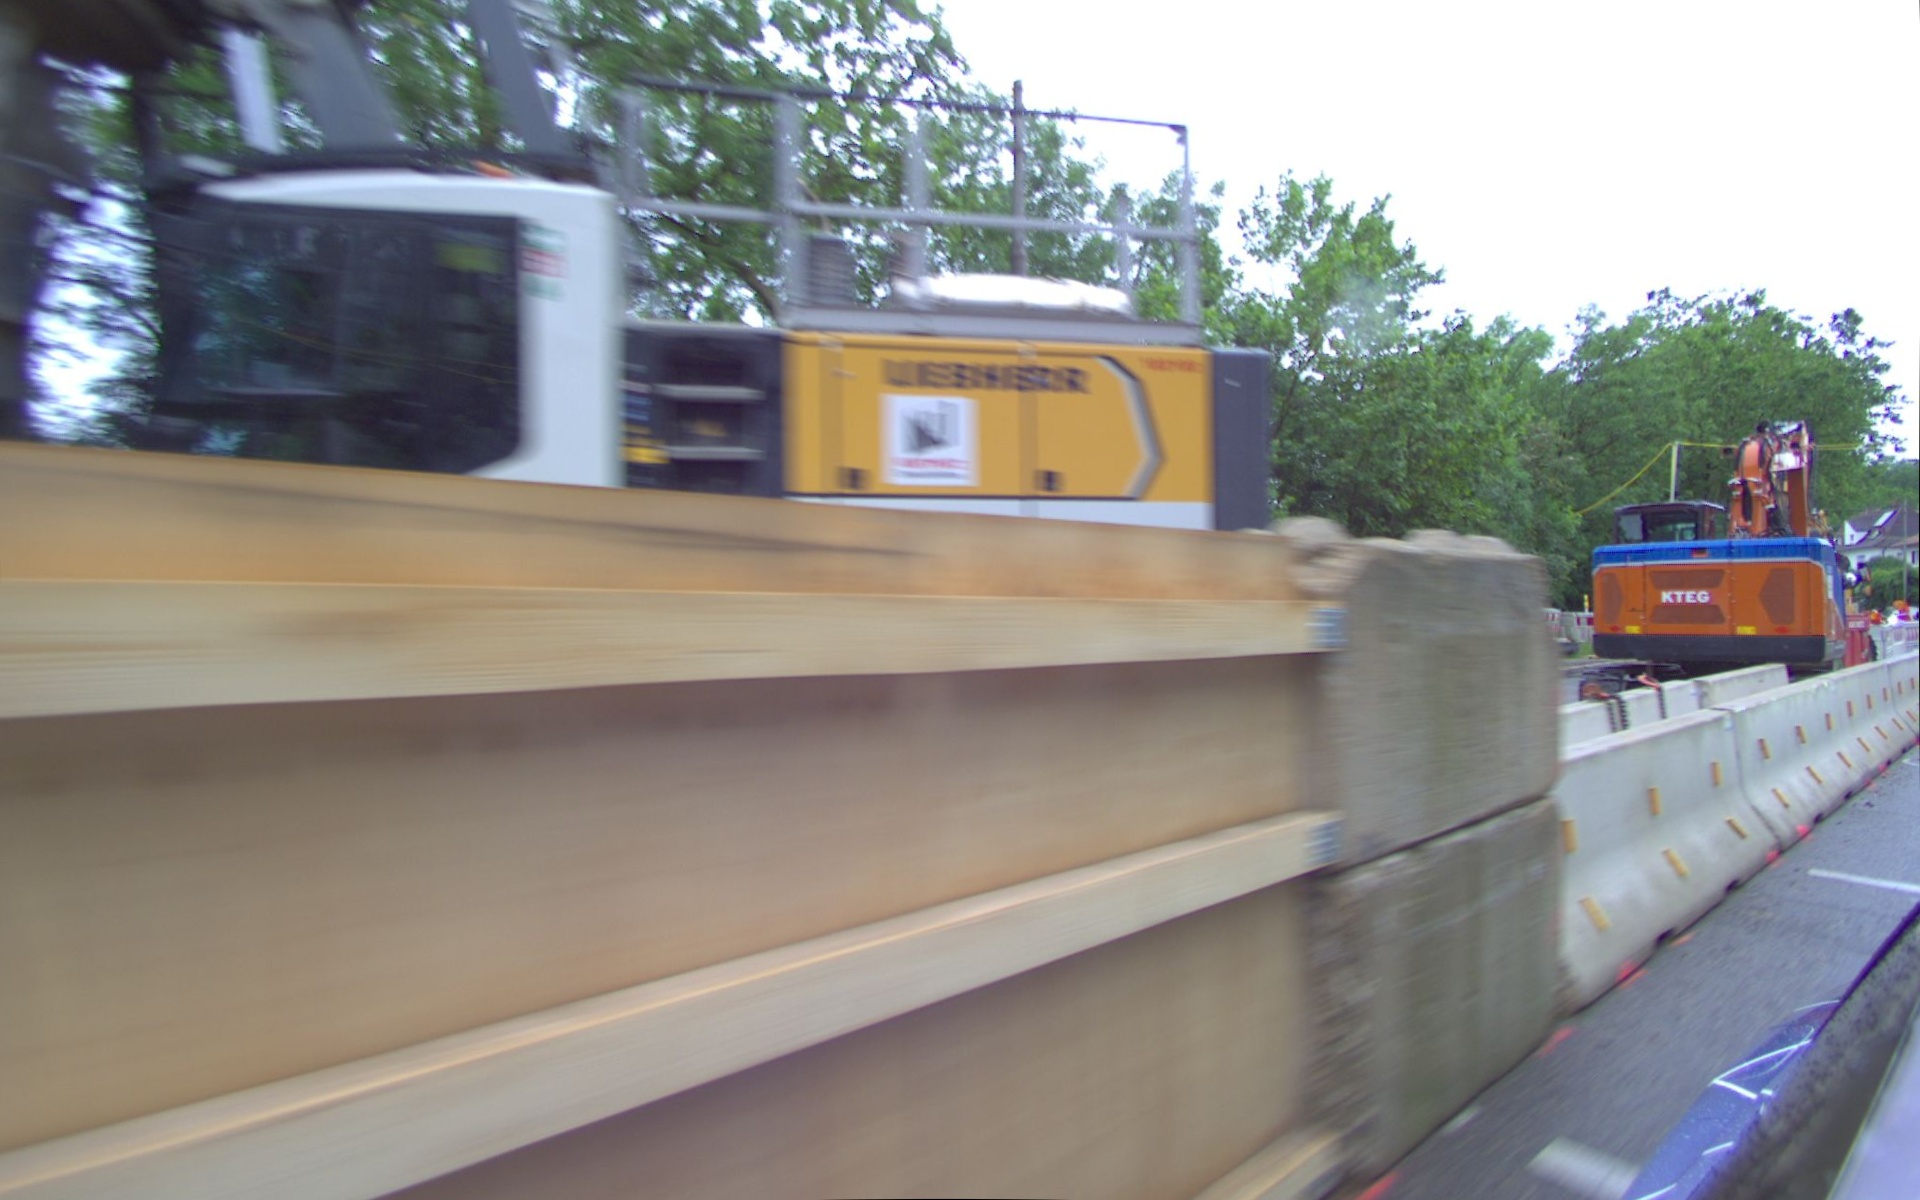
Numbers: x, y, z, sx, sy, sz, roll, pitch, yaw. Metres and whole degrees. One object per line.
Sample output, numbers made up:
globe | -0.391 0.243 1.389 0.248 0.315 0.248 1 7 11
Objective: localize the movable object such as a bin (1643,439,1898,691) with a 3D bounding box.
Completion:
movable object such as a bin | 15.619 -0.576 19.468 4.404 4.224 2.886 1 0 -38

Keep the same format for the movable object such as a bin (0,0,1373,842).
movable object such as a bin | -1.924 -1.772 5.735 7.013 5.129 3.702 -1 1 -12

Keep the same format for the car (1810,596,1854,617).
car | 60.837 0.466 70.627 3.563 1.353 1.823 -1 -1 -41

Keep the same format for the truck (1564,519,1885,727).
truck | 9.418 0.193 12.444 3.247 2.134 2.555 -1 1 -41
